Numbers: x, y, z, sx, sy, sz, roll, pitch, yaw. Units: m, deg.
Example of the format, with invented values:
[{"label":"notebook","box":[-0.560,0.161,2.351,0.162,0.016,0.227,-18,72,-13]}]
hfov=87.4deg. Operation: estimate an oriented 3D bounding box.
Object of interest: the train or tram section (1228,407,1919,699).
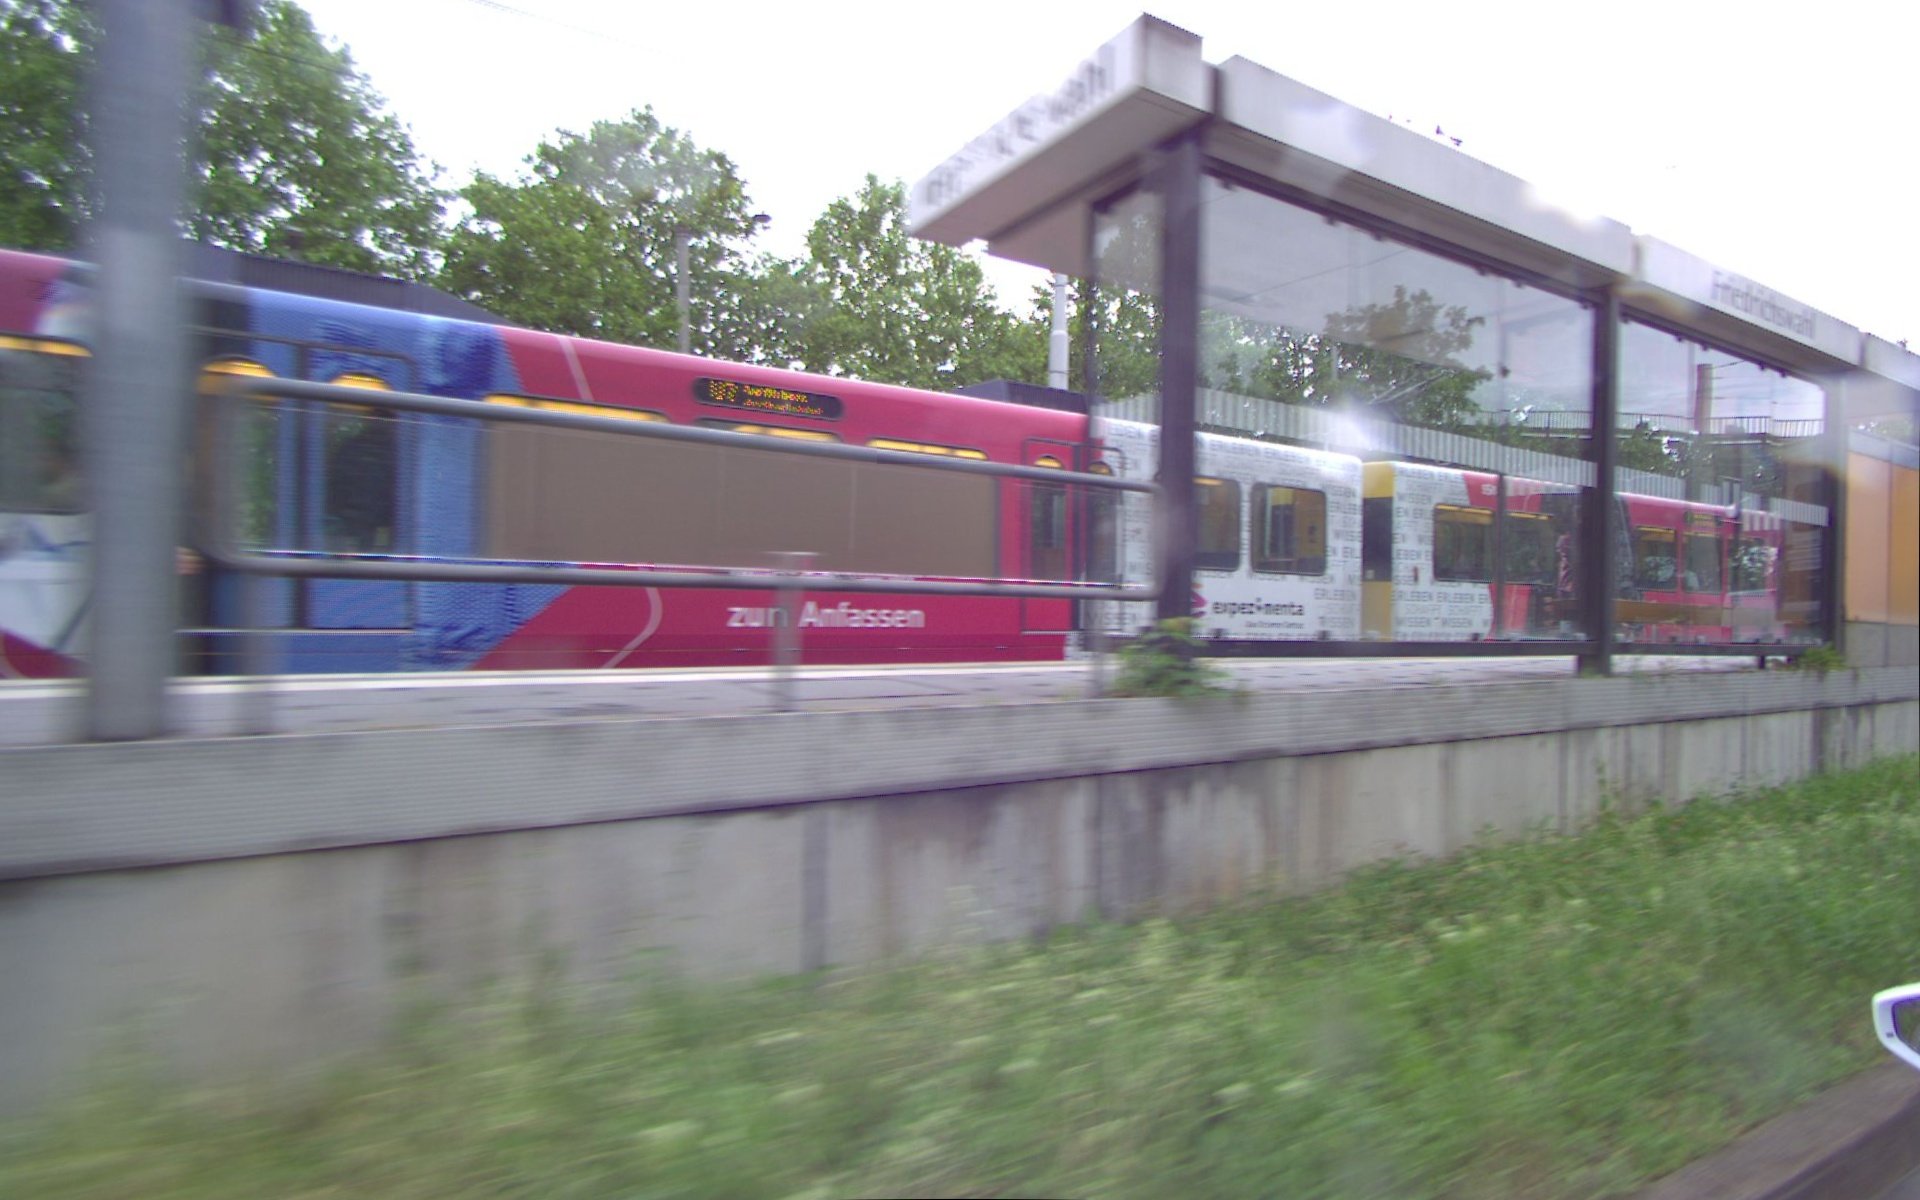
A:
[{"label":"train or tram section","box":[13.409,-0.369,19.763,19.100,4.014,2.854,2,2,-30]}]

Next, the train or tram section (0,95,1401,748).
[{"label":"train or tram section","box":[-2.910,-1.004,9.830,19.117,4.024,2.852,2,2,-32]}]
